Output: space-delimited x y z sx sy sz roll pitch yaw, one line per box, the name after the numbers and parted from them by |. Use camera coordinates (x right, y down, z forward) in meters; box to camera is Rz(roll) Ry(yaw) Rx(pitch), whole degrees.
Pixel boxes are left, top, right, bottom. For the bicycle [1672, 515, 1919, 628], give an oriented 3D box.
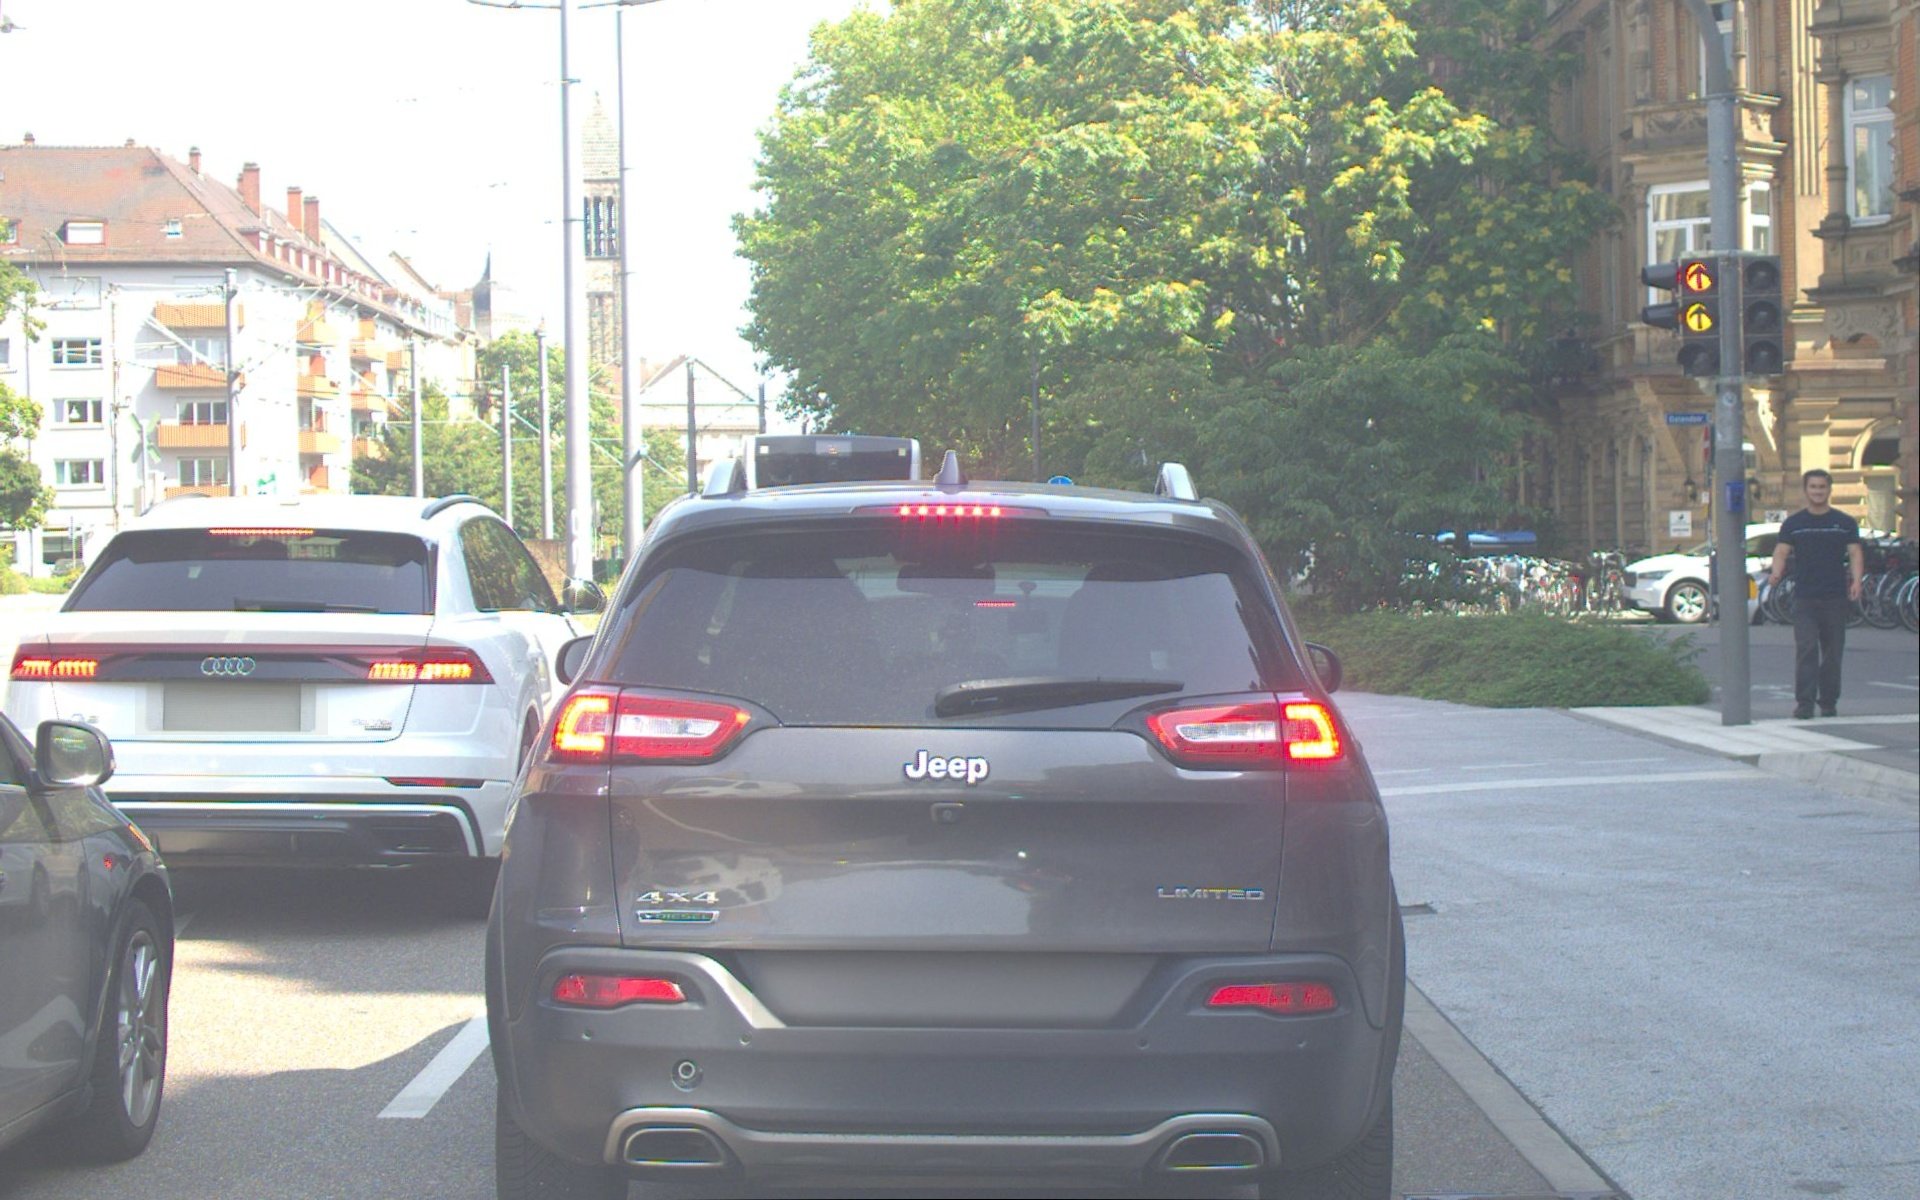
10.684 -0.373 43.823 3.003 1.368 0.947 -1 1 -1 | bicycle

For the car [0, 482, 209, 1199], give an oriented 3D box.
-2.796 0.566 6.713 1.747 1.609 4.309 0 1 0 | car

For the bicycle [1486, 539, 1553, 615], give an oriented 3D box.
9.497 -0.408 58.457 0.732 1.249 3.014 -1 1 2 | bicycle

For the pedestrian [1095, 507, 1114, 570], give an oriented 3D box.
4.577 -1.948 108.860 0.528 2.007 0.532 -1 1 -2 | pedestrian

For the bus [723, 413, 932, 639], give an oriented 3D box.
-2.227 -1.092 53.112 2.743 3.096 11.958 0 1 -5 | bus

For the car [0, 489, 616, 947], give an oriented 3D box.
-2.600 0.374 14.522 1.902 1.646 4.309 0 1 0 | car

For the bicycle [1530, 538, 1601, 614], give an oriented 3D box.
10.286 -0.423 58.471 0.763 1.249 3.014 -1 1 2 | bicycle

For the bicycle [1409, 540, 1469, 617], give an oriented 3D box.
8.136 -0.381 58.483 0.649 1.249 3.014 -1 1 2 | bicycle

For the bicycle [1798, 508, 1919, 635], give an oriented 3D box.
10.885 -0.339 38.007 2.993 1.366 0.871 -1 1 -1 | bicycle

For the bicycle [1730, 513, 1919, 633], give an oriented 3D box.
10.745 -0.330 40.774 2.993 1.366 0.871 -1 1 -1 | bicycle

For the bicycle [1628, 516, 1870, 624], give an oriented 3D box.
10.580 -0.407 46.181 3.003 1.368 0.947 -1 1 -1 | bicycle

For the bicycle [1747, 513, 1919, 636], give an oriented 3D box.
10.732 -0.312 39.826 2.993 1.366 0.871 -1 1 -1 | bicycle

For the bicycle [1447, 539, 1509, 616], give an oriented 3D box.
8.797 -0.396 58.458 0.649 1.249 3.014 -1 1 1 | bicycle

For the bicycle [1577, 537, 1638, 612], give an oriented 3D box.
11.085 -0.447 58.905 0.658 1.245 2.412 -1 1 2 | bicycle

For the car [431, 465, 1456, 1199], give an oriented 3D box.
-0.012 0.541 8.341 1.832 1.646 4.308 0 1 1 | car

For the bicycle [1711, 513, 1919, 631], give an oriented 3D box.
10.735 -0.355 41.717 3.003 1.368 0.947 -1 1 -1 | bicycle

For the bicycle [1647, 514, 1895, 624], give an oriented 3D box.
10.632 -0.406 45.139 3.003 1.368 0.947 -1 1 -1 | bicycle

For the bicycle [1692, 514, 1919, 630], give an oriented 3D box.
10.735 -0.357 42.812 3.003 1.368 0.947 -1 1 -1 | bicycle

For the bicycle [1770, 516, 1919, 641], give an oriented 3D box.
10.783 -0.263 38.914 2.993 1.366 0.871 -1 1 -1 | bicycle

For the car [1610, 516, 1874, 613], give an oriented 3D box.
13.052 -0.604 57.486 3.931 1.515 1.683 -1 1 -7 | car

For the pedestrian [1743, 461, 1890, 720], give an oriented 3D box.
5.950 -0.070 23.854 0.899 1.735 0.768 -2 1 16 | pedestrian
